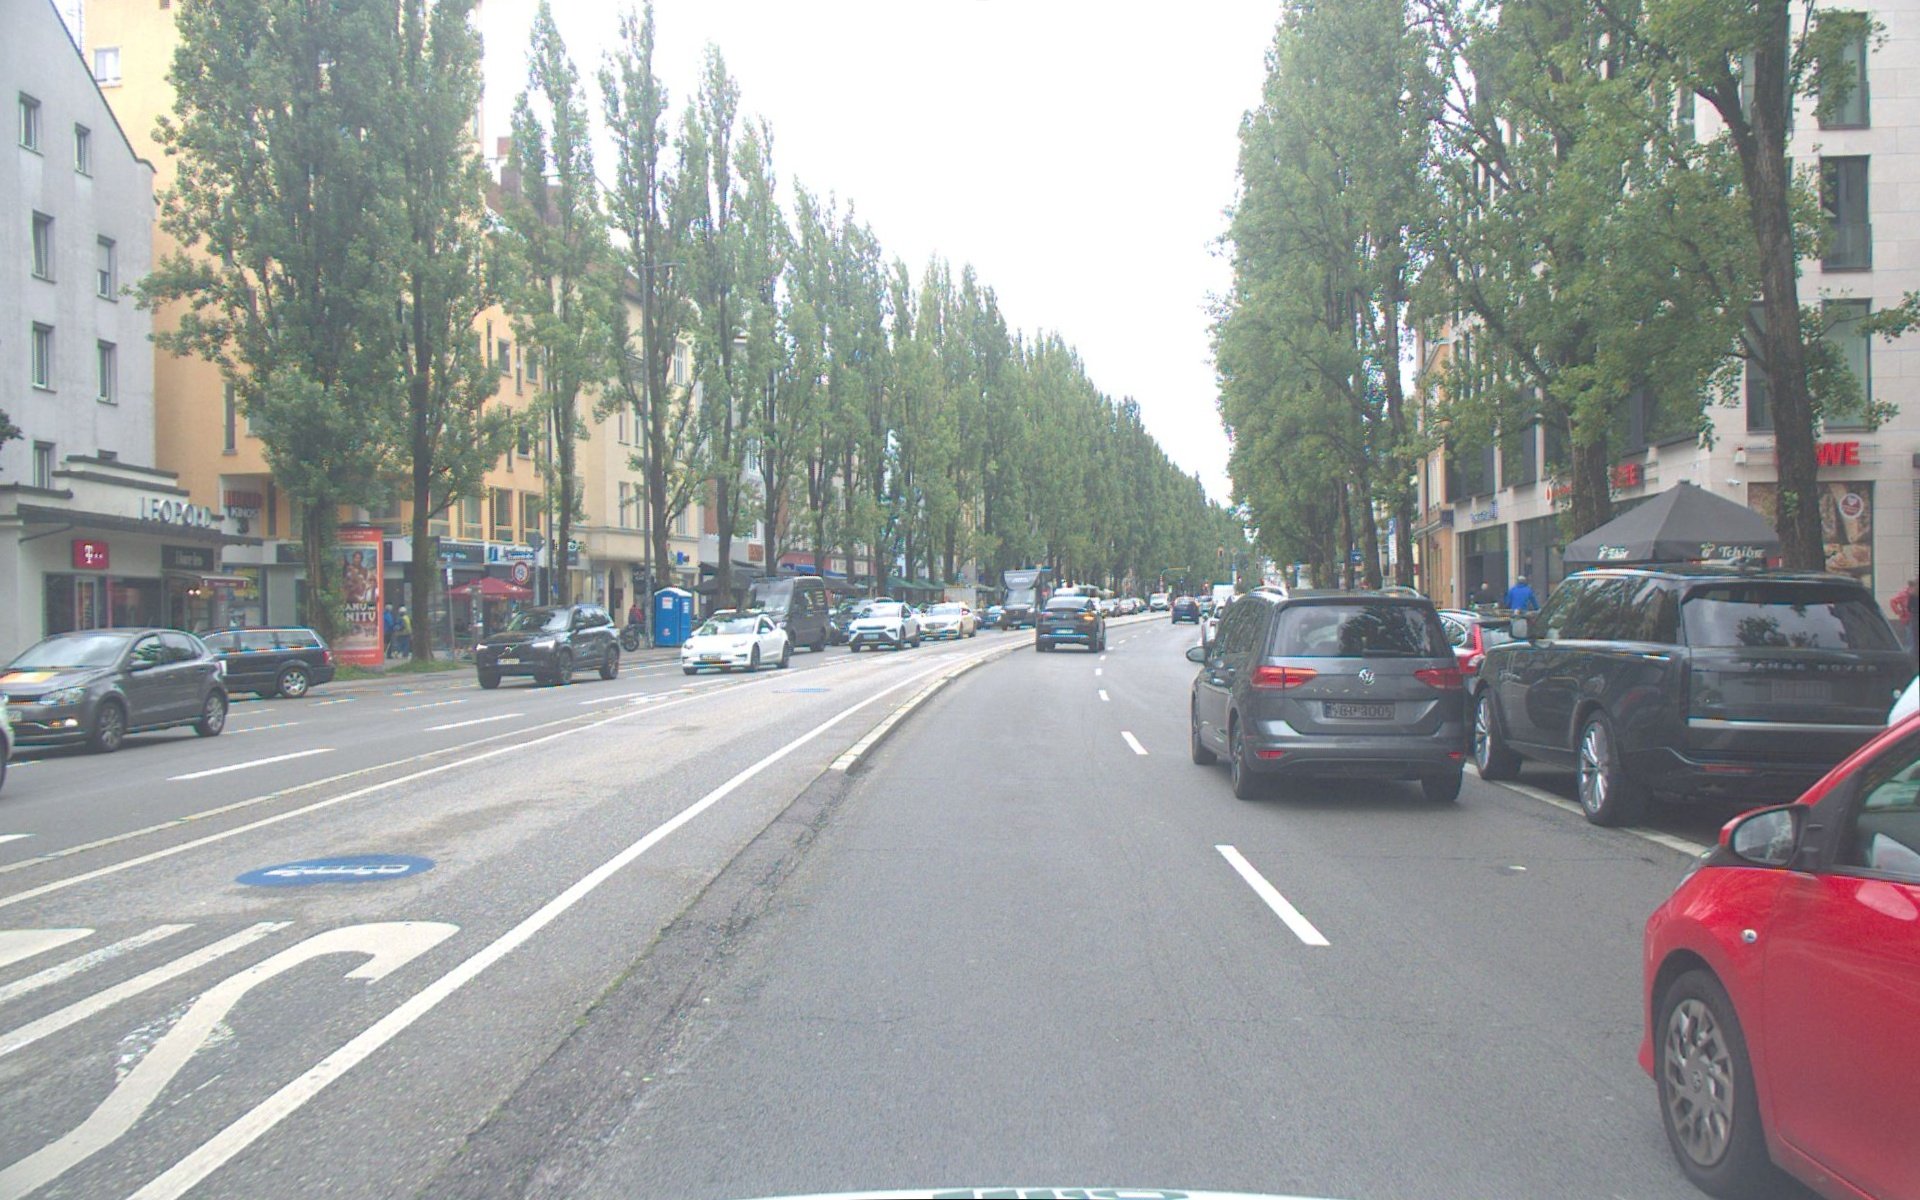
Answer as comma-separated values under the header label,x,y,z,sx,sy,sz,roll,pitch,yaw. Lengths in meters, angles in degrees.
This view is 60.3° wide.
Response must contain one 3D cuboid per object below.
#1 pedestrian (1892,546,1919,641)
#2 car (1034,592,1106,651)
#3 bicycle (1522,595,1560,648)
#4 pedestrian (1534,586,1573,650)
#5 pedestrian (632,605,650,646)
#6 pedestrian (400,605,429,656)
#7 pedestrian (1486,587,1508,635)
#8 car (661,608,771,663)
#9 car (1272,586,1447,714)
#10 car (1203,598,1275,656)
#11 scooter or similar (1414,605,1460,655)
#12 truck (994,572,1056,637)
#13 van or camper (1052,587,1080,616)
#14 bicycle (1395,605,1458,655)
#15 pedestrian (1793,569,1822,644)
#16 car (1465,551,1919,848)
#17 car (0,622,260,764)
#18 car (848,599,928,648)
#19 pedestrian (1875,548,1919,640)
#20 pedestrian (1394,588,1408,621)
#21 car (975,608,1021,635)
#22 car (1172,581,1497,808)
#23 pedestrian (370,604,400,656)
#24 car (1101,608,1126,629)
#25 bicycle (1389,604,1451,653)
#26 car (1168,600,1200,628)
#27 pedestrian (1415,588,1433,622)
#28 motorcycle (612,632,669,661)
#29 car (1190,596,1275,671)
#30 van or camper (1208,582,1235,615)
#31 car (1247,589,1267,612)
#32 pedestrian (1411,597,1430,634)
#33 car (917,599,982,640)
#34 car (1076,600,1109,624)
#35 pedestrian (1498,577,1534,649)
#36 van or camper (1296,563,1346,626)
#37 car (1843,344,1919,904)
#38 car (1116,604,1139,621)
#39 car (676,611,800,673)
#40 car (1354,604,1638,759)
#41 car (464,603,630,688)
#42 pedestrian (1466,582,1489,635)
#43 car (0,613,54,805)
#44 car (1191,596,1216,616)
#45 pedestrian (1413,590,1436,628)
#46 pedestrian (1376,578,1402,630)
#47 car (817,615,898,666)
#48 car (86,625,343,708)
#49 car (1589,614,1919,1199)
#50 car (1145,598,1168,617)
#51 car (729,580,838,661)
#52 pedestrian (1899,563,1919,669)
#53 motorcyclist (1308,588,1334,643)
label,x,y,z,sx,sy,sz,roll,pitch,yaw
pedestrian,16.859,-0.111,29.311,0.536,1.653,0.507,0,-1,23
car,3.377,0.615,50.068,1.840,1.670,4.586,-1,0,7
bicycle,13.518,0.496,38.511,0.440,1.192,1.769,-2,0,7
pedestrian,17.030,0.519,47.478,0.780,1.803,0.680,-1,0,-13
pedestrian,-13.875,1.096,71.894,0.527,1.777,0.756,0,0,11
pedestrian,-17.829,0.989,54.099,0.825,1.654,0.760,1,-1,-14
pedestrian,17.033,0.343,52.430,0.494,1.517,0.545,-1,0,36
car,-8.729,1.227,59.772,2.123,1.794,6.069,-1,0,10
car,5.809,0.679,24.537,1.691,1.716,4.409,0,0,2
car,7.908,0.740,47.189,1.772,1.526,4.809,-2,0,7
scooter or similar,12.059,0.752,41.844,1.028,1.247,0.380,-1,0,3
truck,3.647,0.228,91.426,2.242,3.381,7.163,-2,0,11
van or camper,9.480,0.104,147.299,1.951,2.501,4.255,-1,0,11
bicycle,11.981,0.767,42.469,1.447,1.229,0.536,-1,0,3
pedestrian,20.320,0.151,39.657,0.457,1.781,0.427,-1,0,7
car,5.452,0.627,12.735,1.889,1.836,4.781,0,0,3
car,-10.455,1.072,20.340,1.746,1.491,4.002,-2,0,4
car,-2.475,0.792,58.032,1.869,1.631,4.359,-1,0,10
pedestrian,17.134,-0.101,30.227,0.540,1.653,0.503,1,-1,-24
pedestrian,21.746,0.220,81.559,0.658,1.641,0.641,-1,0,14
car,2.269,1.230,97.243,1.898,1.459,4.542,-2,0,11
car,2.995,0.689,14.123,1.725,1.642,4.182,0,0,-2
pedestrian,-18.784,0.979,54.026,0.825,1.654,0.760,1,-1,-14
car,12.198,1.507,131.432,1.631,1.624,4.003,0,-1,11
bicycle,11.963,0.749,43.051,1.447,1.229,0.536,-1,0,3
car,13.805,0.879,101.750,1.721,1.648,3.750,0,-1,11
pedestrian,22.827,0.242,81.432,0.803,1.641,0.779,-1,0,14
motorcycle,-11.791,1.702,61.041,2.018,1.054,0.485,1,-1,-10
car,6.694,0.811,41.045,1.884,1.730,4.653,0,-1,7
van or camper,21.054,-0.088,133.151,1.991,2.519,4.003,-1,-2,11
car,28.009,0.055,155.977,1.766,2.027,4.003,0,-1,11
pedestrian,20.791,0.709,74.637,0.715,1.654,0.805,-2,0,21
car,-0.398,0.798,71.046,1.951,1.616,5.199,-3,0,8
car,9.761,0.845,121.407,1.898,1.671,4.467,-2,0,10
pedestrian,12.976,0.291,38.595,0.597,1.647,0.795,-2,0,6
van or camper,19.088,-0.300,87.533,2.407,3.166,4.719,-2,0,12
car,5.745,0.099,6.179,1.952,2.789,5.554,0,-1,0
car,14.652,1.076,144.343,1.675,1.439,3.726,-1,0,10
car,-5.554,1.028,41.970,1.761,1.419,4.694,-2,0,10
car,5.746,0.797,18.322,1.734,1.458,4.572,1,0,1
car,-9.208,0.960,37.328,1.975,1.746,4.986,-1,0,7
pedestrian,16.465,0.265,52.650,0.540,1.666,0.556,-1,0,34
car,-9.213,0.948,12.827,1.912,1.617,4.002,-1,0,5
car,23.038,0.572,156.420,1.951,1.747,4.003,-2,0,13
pedestrian,19.246,0.372,68.528,0.595,1.578,0.711,-2,0,-16
pedestrian,16.014,0.155,61.763,0.800,1.902,0.939,-2,0,8
car,-4.209,1.651,68.797,1.951,1.896,5.716,-3,0,10
car,-15.208,1.313,33.837,4.464,1.464,1.901,-2,0,-39
car,2.769,0.770,3.350,1.631,1.471,3.596,0,-1,0
car,21.293,0.812,179.276,1.953,2.049,3.999,0,-1,-1
car,-6.054,0.681,57.666,2.123,2.651,6.069,-1,0,10
pedestrian,15.368,0.250,26.342,0.480,1.663,0.570,-1,0,5
motorcyclist,9.634,0.414,44.168,0.552,1.431,0.766,-2,0,8
